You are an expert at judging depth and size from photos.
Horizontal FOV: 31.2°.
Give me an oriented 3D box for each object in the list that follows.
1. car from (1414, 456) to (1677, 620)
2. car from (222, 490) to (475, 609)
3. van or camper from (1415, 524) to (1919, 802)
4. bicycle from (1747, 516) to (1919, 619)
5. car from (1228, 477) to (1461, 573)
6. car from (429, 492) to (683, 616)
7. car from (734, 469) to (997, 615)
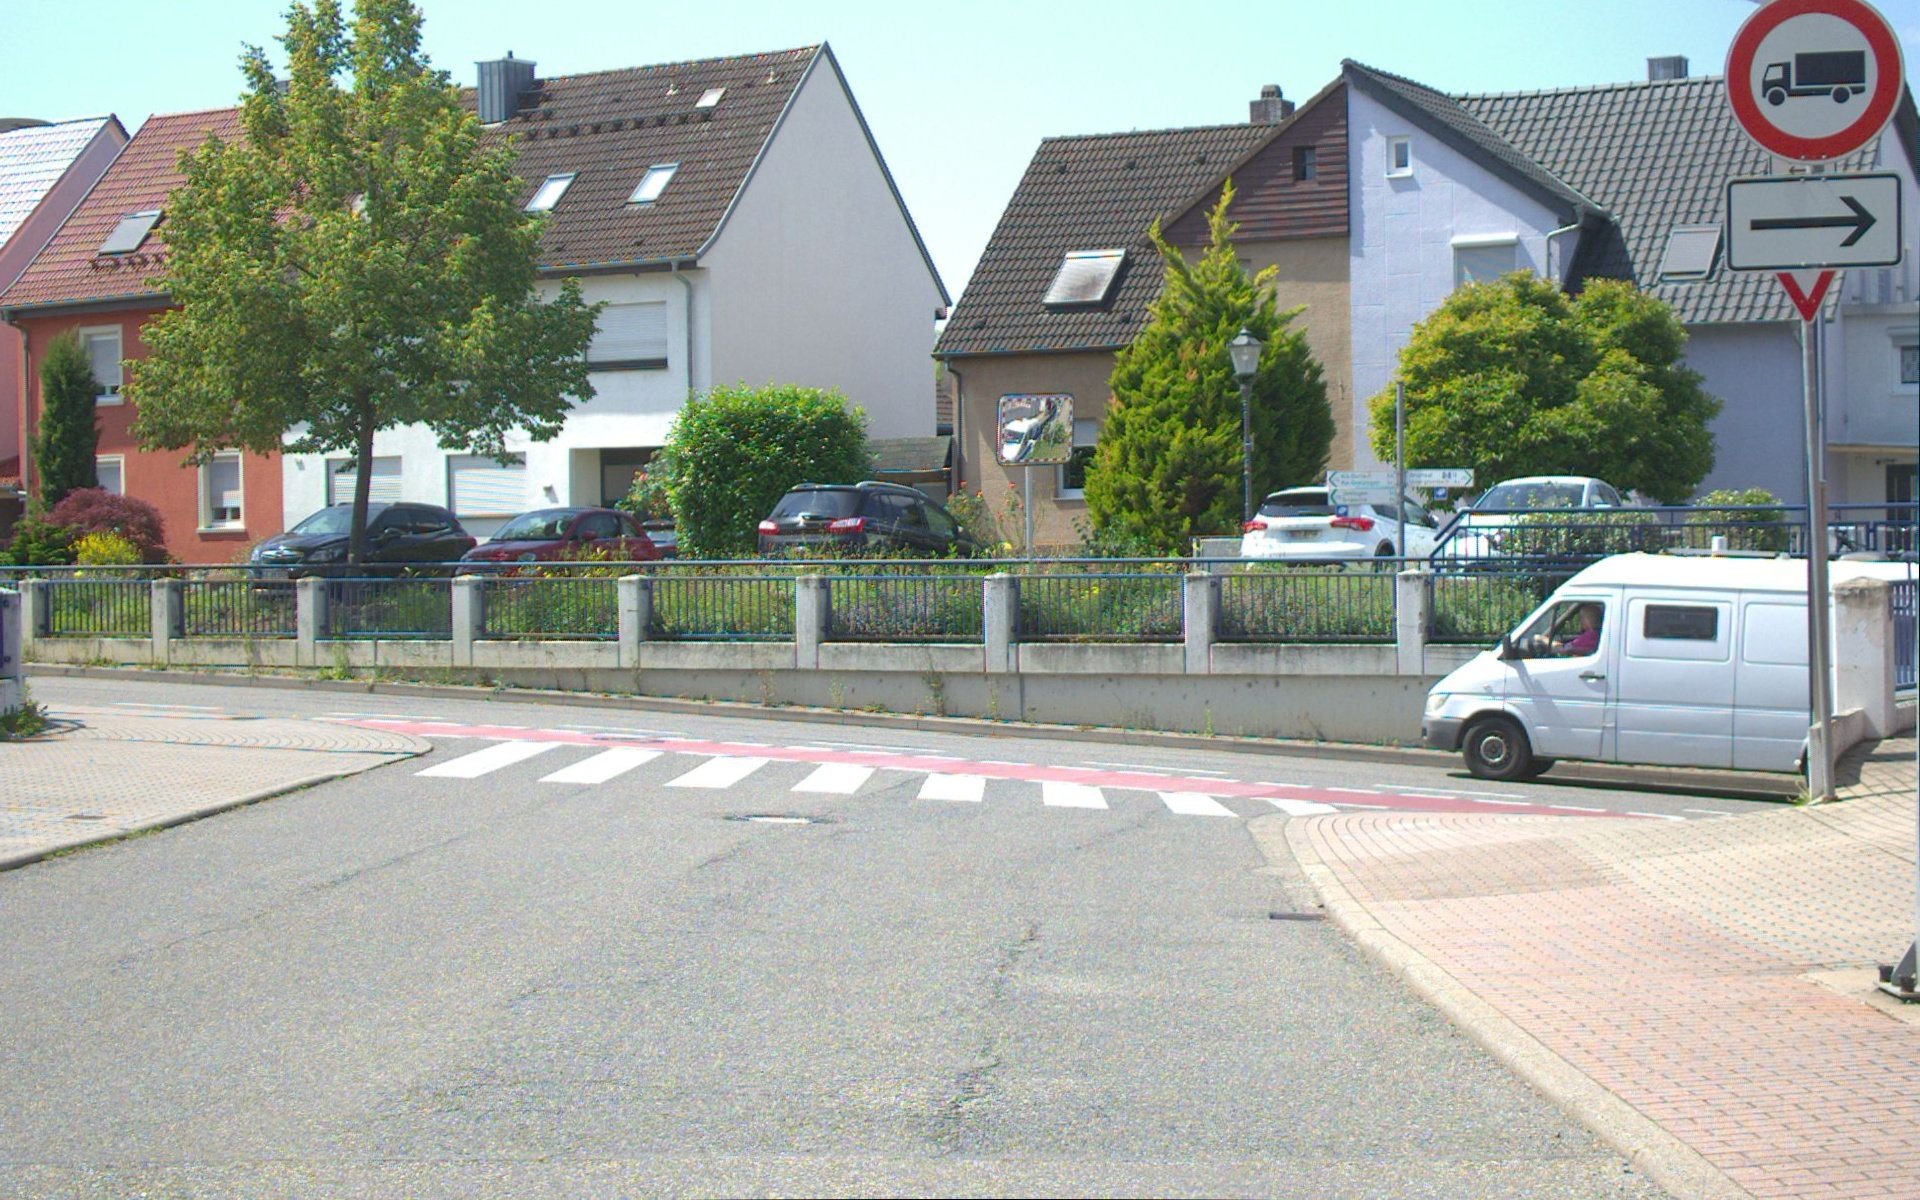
[{"bbox_3d":[7.309,-0.733,42.574,1.996,1.791,4.190,4,1,26],"label":"car"},{"bbox_3d":[-9.089,-0.737,51.375,1.870,1.581,3.604,4,1,26],"label":"car"},{"bbox_3d":[7.715,0.639,36.238,5.381,2.621,2.002,3,-1,20],"label":"van or camper"},{"bbox_3d":[9.768,-0.360,37.886,2.117,1.122,0.333,0,1,20],"label":"bicycle"},{"bbox_3d":[4.932,-0.940,43.743,1.828,1.016,3.454,4,1,26],"label":"car"},{"bbox_3d":[-5.754,-0.636,49.297,1.870,1.581,3.604,4,1,26],"label":"car"},{"bbox_3d":[-1.250,-0.769,47.330,1.870,1.791,3.994,4,1,26],"label":"car"}]
